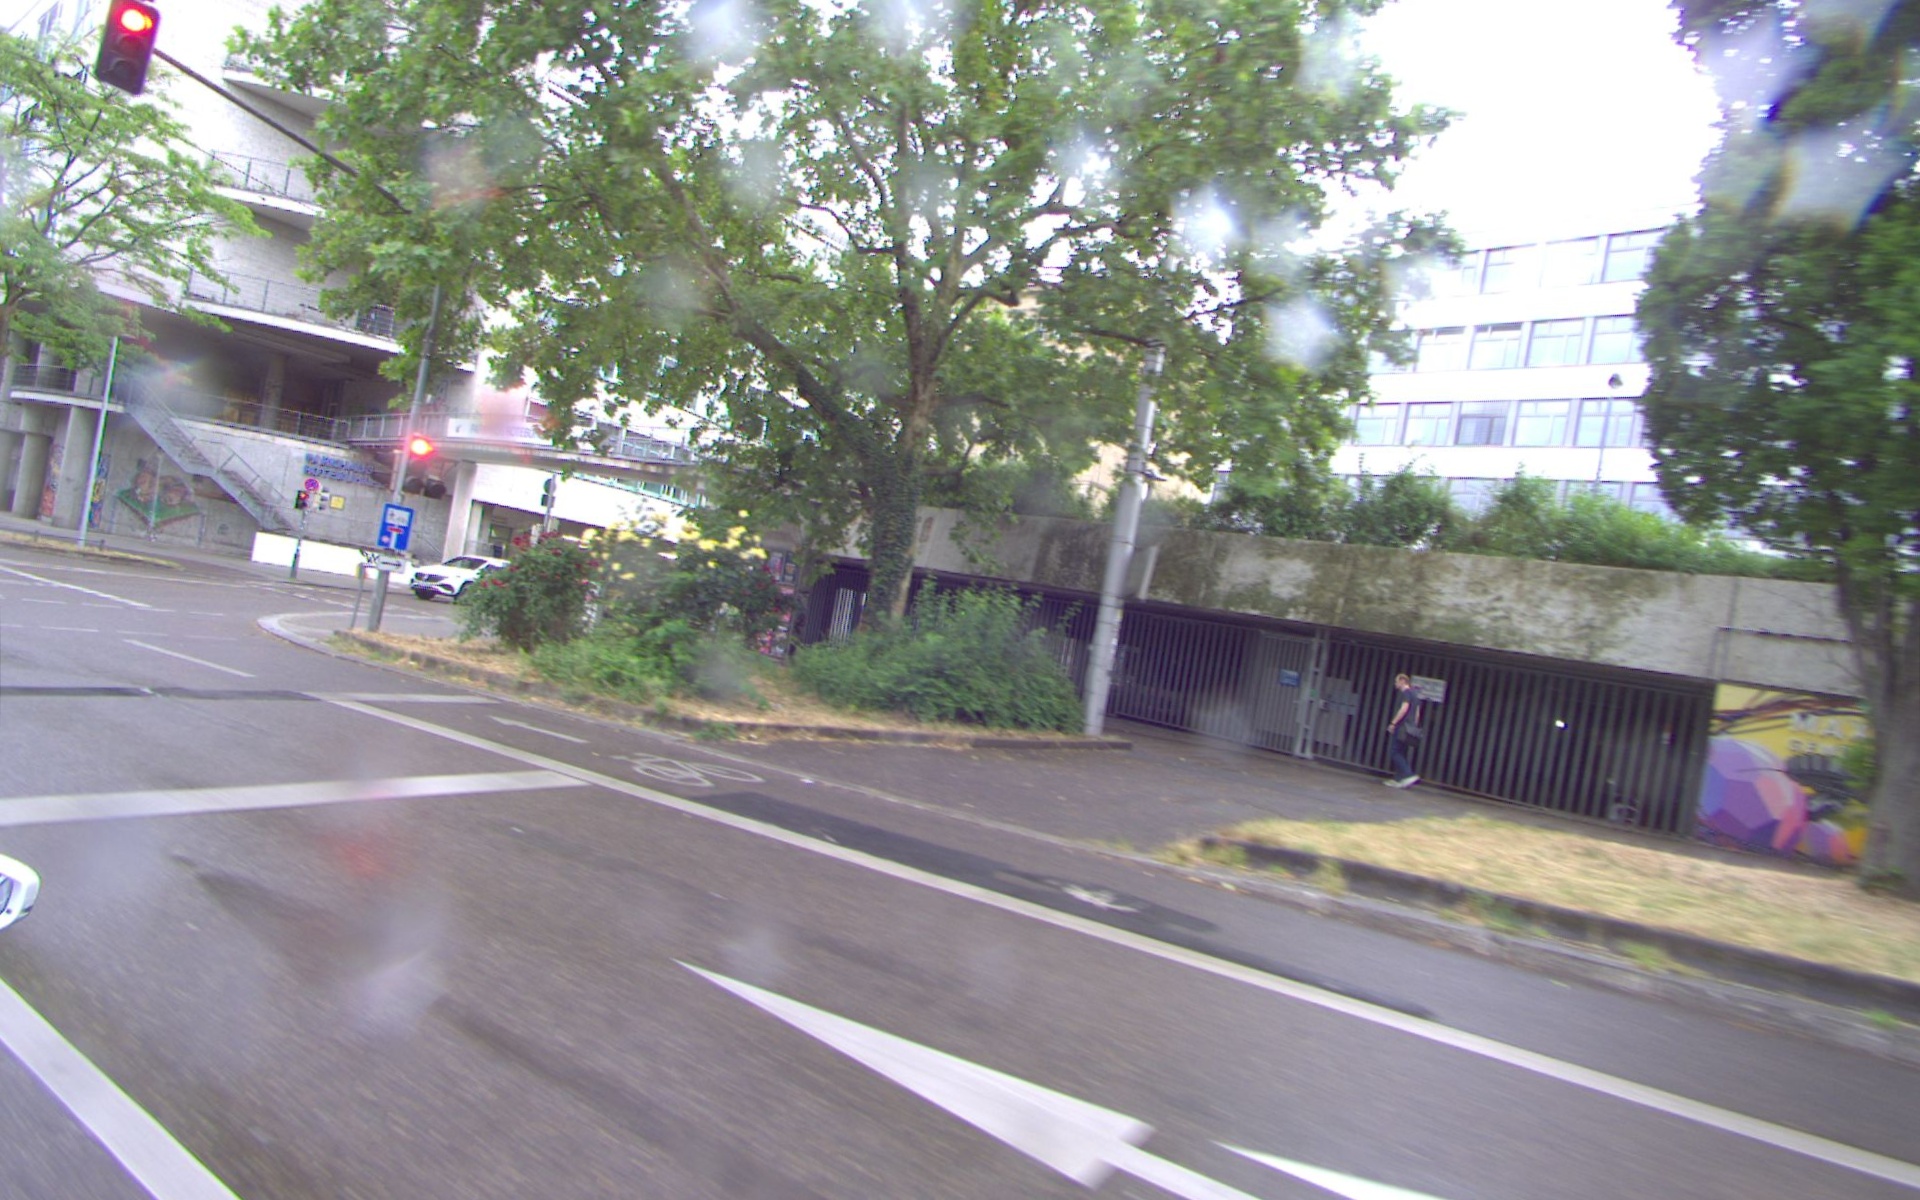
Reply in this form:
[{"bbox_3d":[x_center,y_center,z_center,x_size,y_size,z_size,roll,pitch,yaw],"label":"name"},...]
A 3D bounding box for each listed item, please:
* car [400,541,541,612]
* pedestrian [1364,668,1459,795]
[{"bbox_3d":[-16.076,-0.715,33.320,1.718,1.702,4.365,8,-3,11],"label":"car"},{"bbox_3d":[7.435,2.145,16.567,1.041,1.887,0.806,7,0,41],"label":"pedestrian"}]
